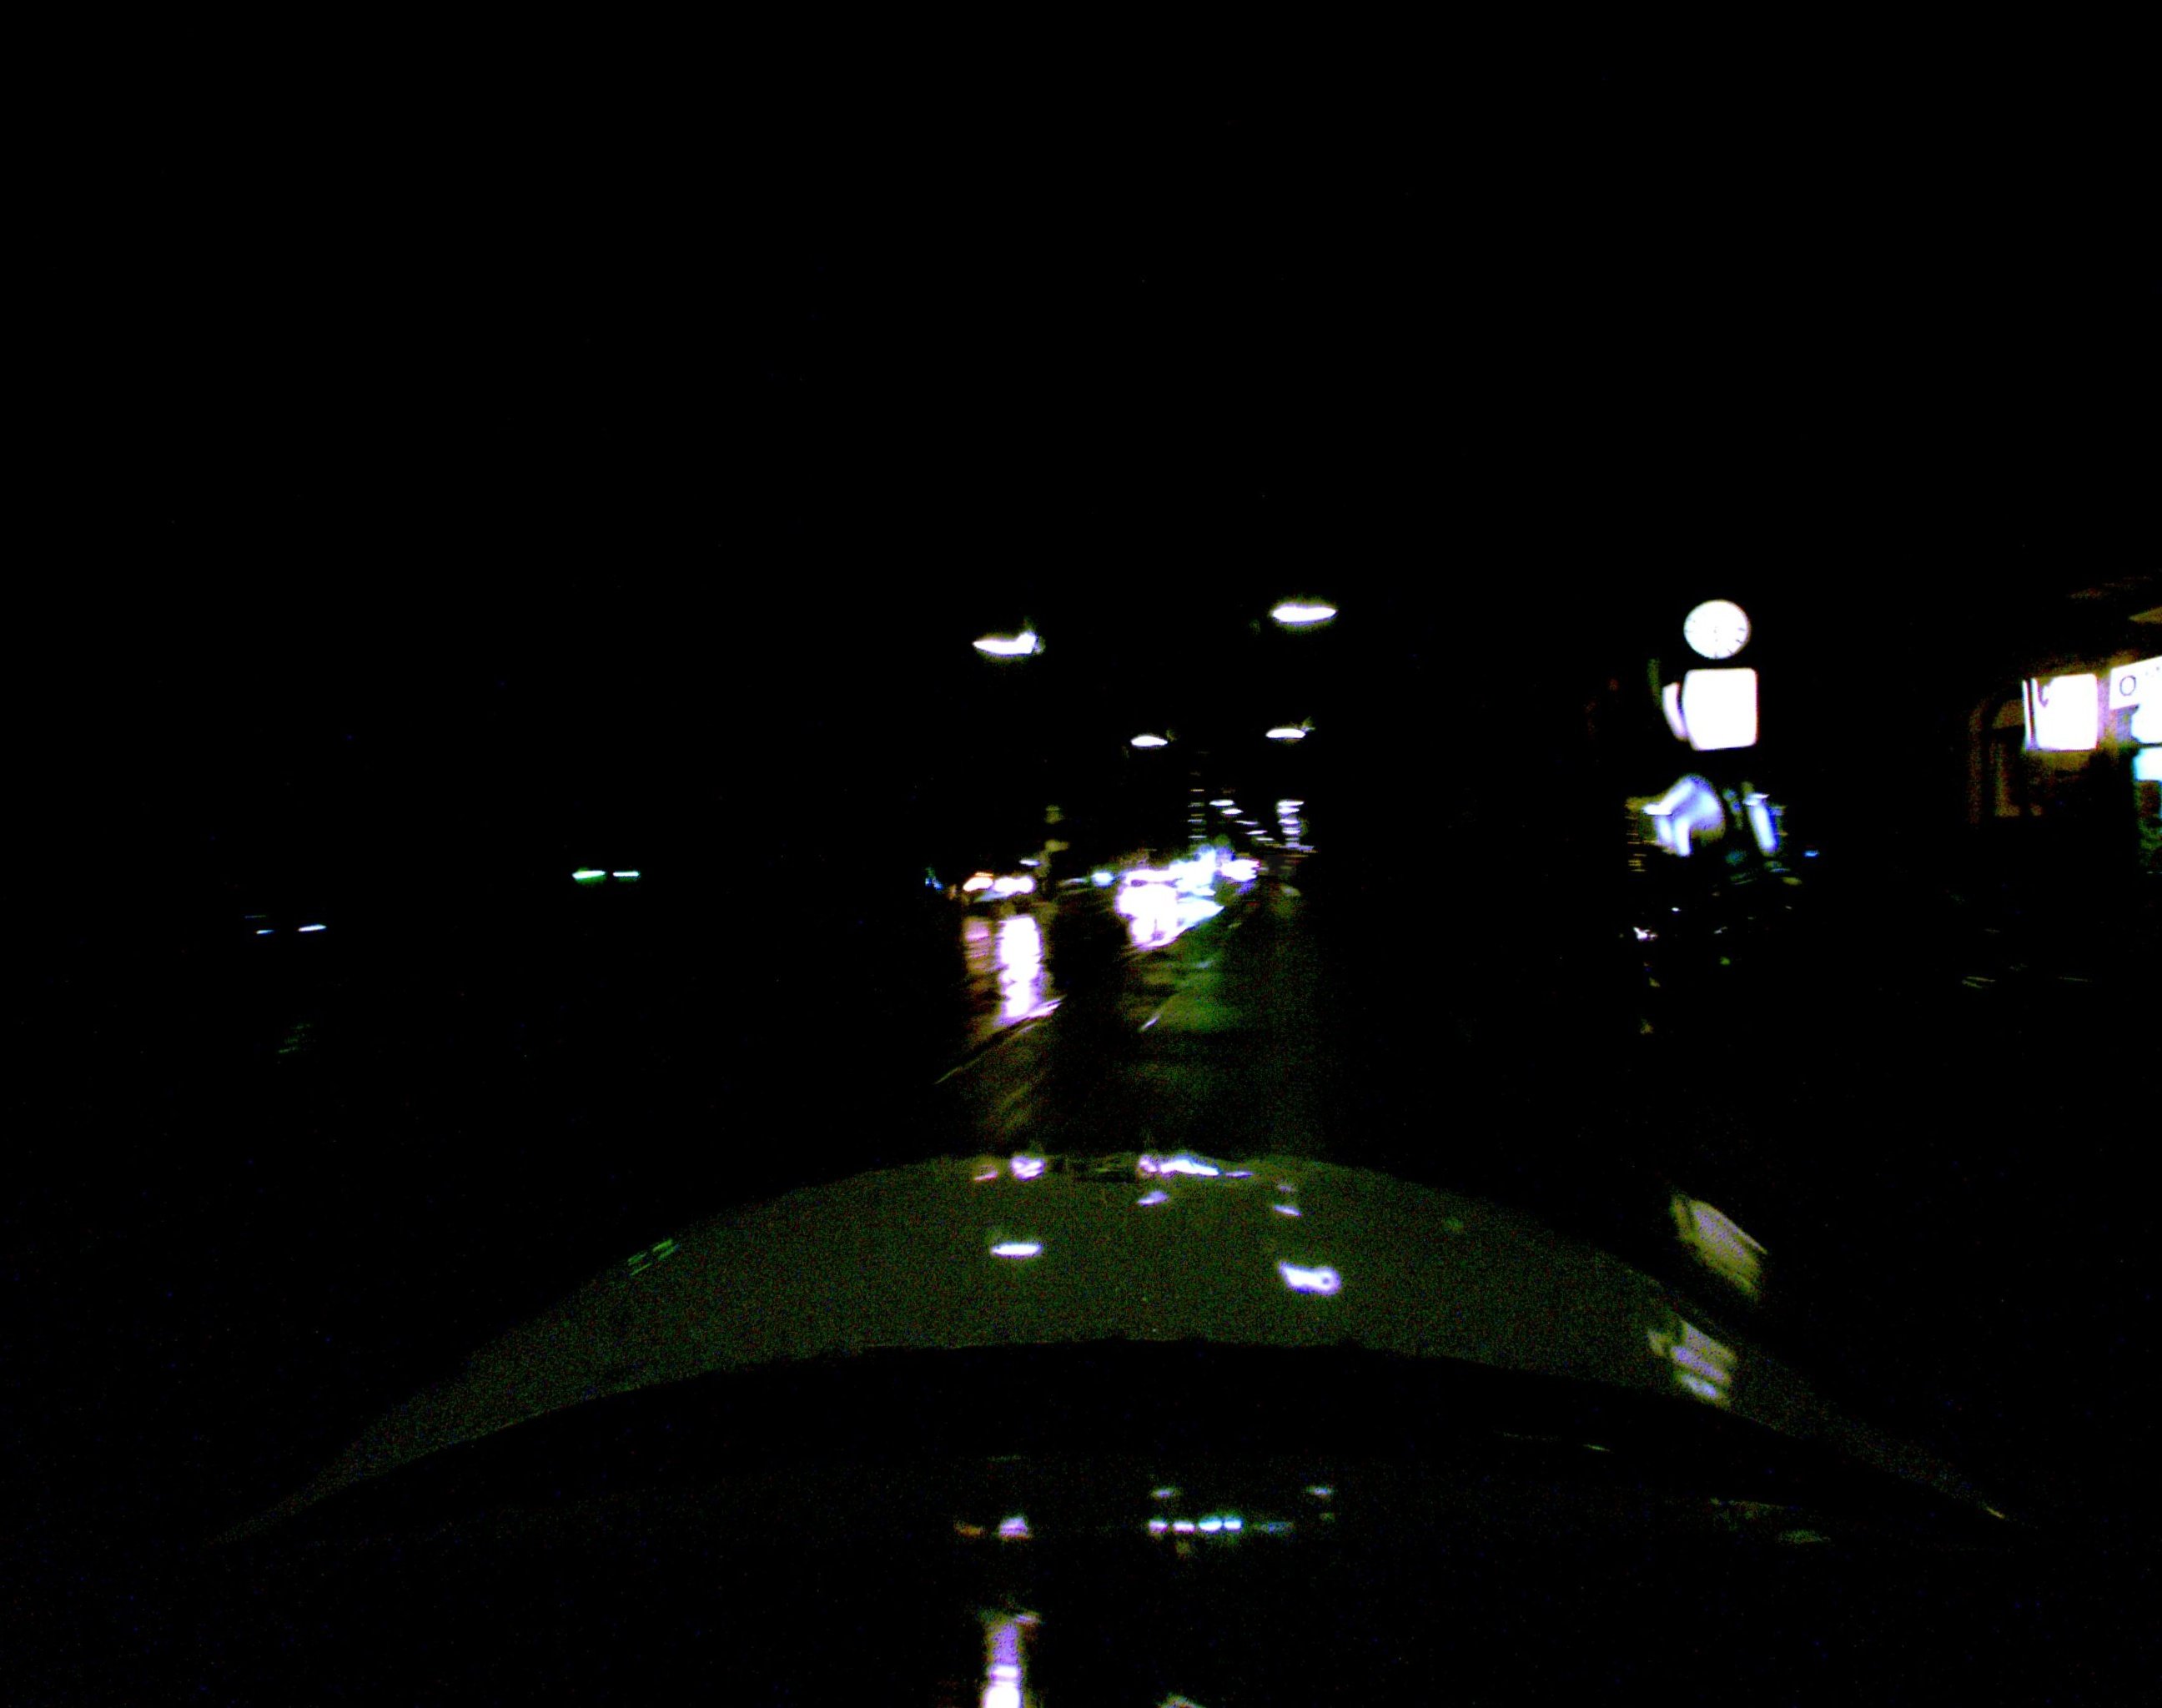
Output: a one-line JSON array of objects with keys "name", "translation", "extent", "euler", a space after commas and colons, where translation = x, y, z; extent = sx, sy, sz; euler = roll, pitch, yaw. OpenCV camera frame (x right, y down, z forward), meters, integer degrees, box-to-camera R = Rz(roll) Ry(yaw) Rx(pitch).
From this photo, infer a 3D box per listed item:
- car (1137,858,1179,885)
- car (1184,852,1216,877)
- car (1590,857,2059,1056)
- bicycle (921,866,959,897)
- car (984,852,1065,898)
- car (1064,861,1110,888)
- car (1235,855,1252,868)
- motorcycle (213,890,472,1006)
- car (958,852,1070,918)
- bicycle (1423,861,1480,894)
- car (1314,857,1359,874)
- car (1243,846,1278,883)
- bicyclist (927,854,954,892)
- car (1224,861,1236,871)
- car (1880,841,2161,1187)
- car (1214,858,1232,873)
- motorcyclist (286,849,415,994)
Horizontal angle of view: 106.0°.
[{"name": "car", "translation": [4.509, 0.994, 47.030], "extent": [1.779, 1.464, 3.916], "euler": [-1, 0, 14]}, {"name": "car", "translation": [9.472, 0.813, 64.757], "extent": [1.912, 1.879, 4.656], "euler": [-2, -1, 15]}, {"name": "car", "translation": [6.856, 0.815, 8.192], "extent": [1.633, 1.442, 4.070], "euler": [-4, -1, 13]}, {"name": "bicycle", "translation": [-5.529, 1.082, 32.071], "extent": [0.649, 1.141, 1.906], "euler": [2, -1, 17]}, {"name": "car", "translation": [-2.415, 0.870, 36.501], "extent": [1.980, 1.825, 5.329], "euler": [3, 1, 14]}, {"name": "car", "translation": [0.385, 1.172, 47.136], "extent": [1.754, 1.406, 4.155], "euler": [2, 0, 13]}, {"name": "car", "translation": [23.238, 1.045, 116.303], "extent": [1.924, 1.816, 4.402], "euler": [-2, -1, 15]}, {"name": "motorcycle", "translation": [-9.247, 1.115, 10.350], "extent": [0.701, 1.230, 2.339], "euler": [-3, -2, 27]}, {"name": "car", "translation": [-1.981, 0.939, 25.555], "extent": [1.880, 1.869, 4.556], "euler": [-2, -1, 17]}, {"name": "bicycle", "translation": [13.798, 0.881, 30.381], "extent": [1.801, 1.164, 0.494], "euler": [-3, -2, 12]}, {"name": "car", "translation": [23.774, 1.045, 75.753], "extent": [3.799, 1.458, 1.754], "euler": [2, -1, -28]}, {"name": "car", "translation": [12.496, 0.723, 56.695], "extent": [2.202, 2.442, 5.402], "euler": [1, -1, 13]}, {"name": "bicyclist", "translation": [-5.519, 0.758, 32.075], "extent": [0.649, 1.465, 0.872], "euler": [2, -1, 17]}, {"name": "car", "translation": [28.607, 2.317, 156.273], "extent": [1.985, 1.785, 4.015], "euler": [2, -1, 14]}, {"name": "car", "translation": [5.693, 0.716, 3.418], "extent": [1.636, 1.525, 3.593], "euler": [-4, -1, 13]}, {"name": "car", "translation": [14.911, 1.185, 85.320], "extent": [1.640, 1.479, 4.219], "euler": [-2, -1, 12]}, {"name": "motorcyclist", "translation": [-9.285, 0.825, 10.380], "extent": [0.701, 1.731, 1.034], "euler": [-3, -2, 27]}]
